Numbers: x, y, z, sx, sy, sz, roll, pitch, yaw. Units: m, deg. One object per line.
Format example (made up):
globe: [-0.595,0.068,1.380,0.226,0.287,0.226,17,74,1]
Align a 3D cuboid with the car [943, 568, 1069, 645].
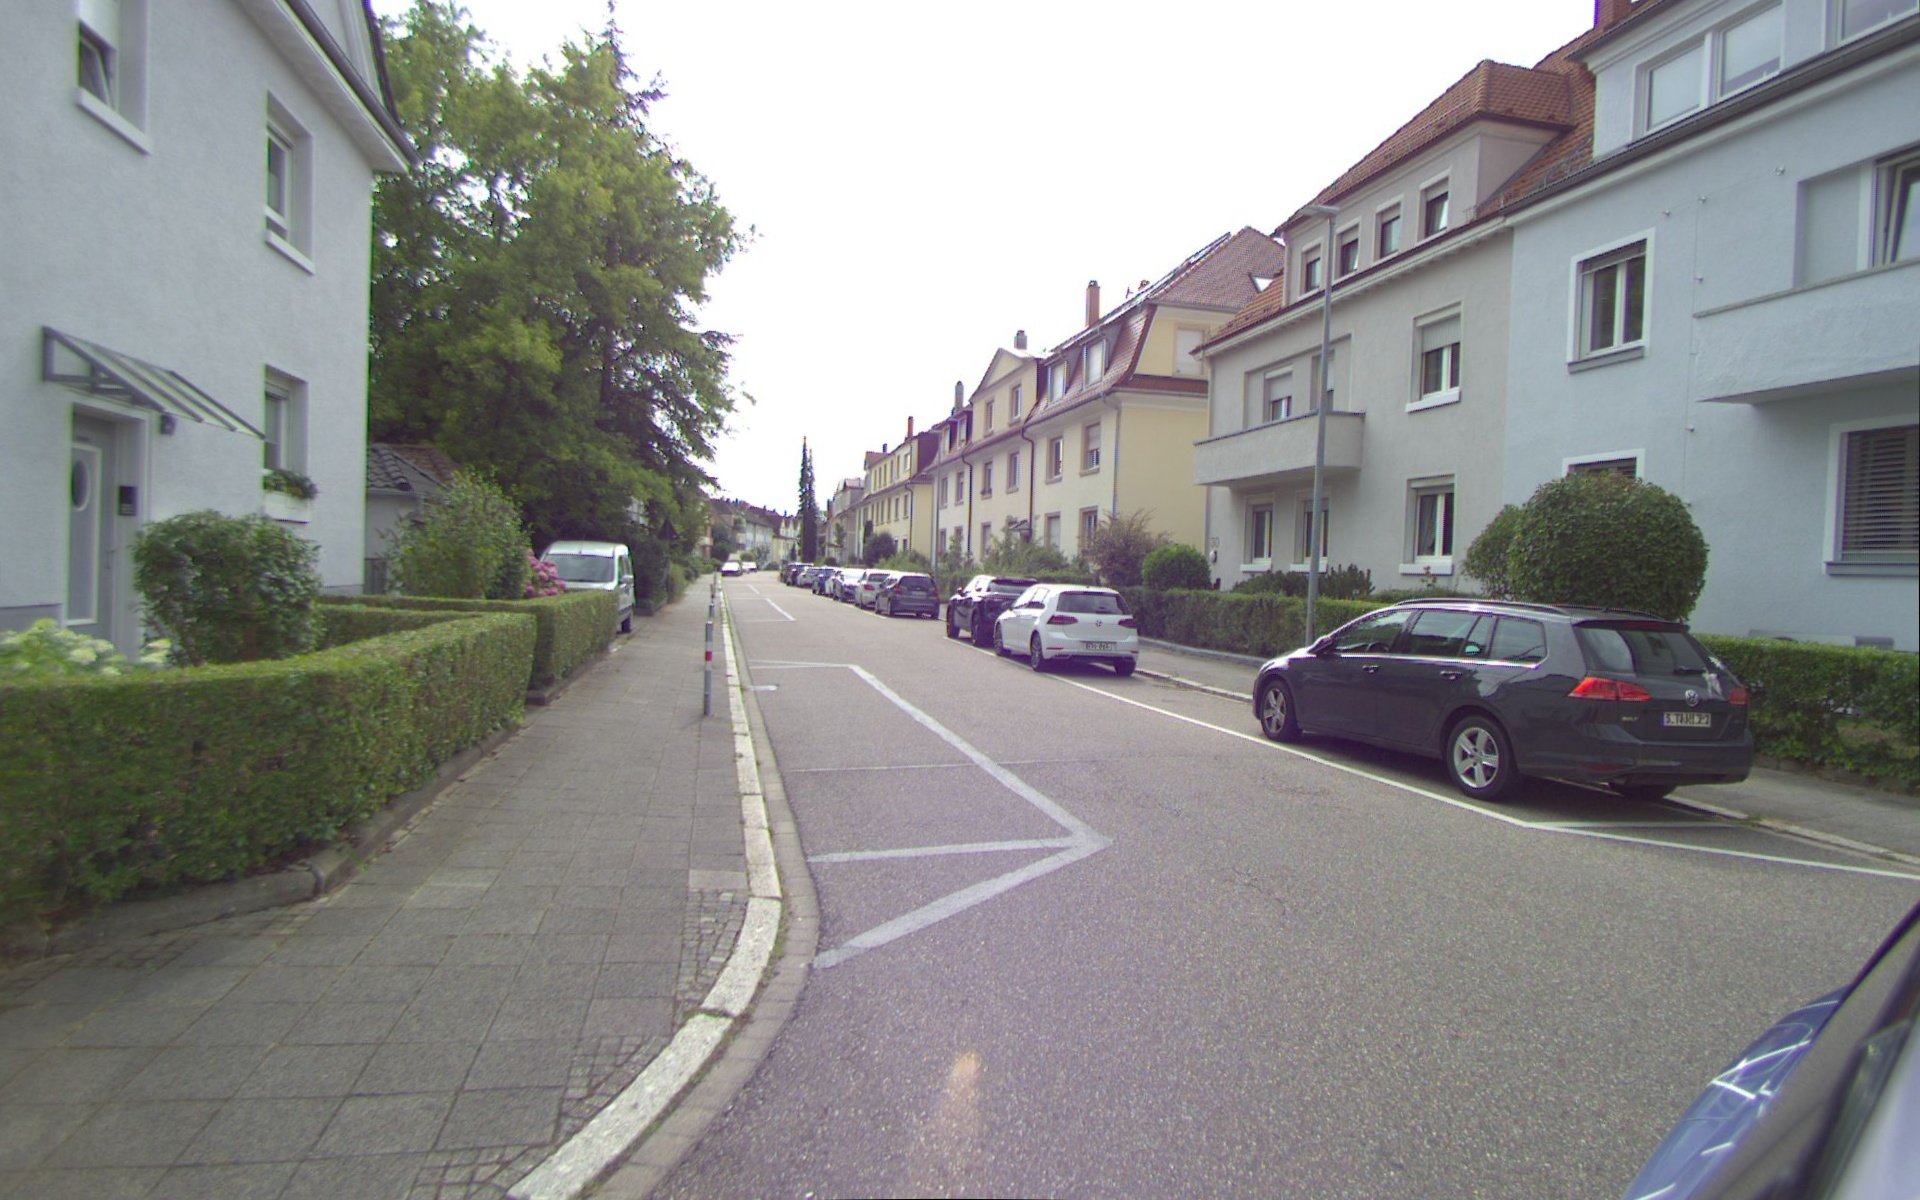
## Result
car: [0.934,0.076,22.955,1.821,1.489,4.185,1,2,-12]

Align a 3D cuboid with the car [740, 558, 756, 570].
car: [-29.269,-4.996,139.548,1.959,1.660,4.008,1,2,-10]

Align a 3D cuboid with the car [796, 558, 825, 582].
car: [-10.882,-2.210,73.531,1.821,1.597,4.185,1,2,-12]

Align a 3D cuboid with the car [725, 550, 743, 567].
car: [-27.437,-5.068,123.020,1.958,2.038,4.009,1,2,-11]

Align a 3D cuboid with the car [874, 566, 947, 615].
car: [-1.763,-0.381,34.571,1.821,1.489,4.185,1,2,-12]

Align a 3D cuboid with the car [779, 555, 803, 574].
car: [-15.391,-3.243,91.919,1.821,1.597,4.185,1,2,-13]

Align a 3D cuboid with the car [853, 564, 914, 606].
car: [-3.072,-0.643,39.721,1.821,1.489,4.185,1,2,-12]

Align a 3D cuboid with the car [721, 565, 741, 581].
car: [-24.978,-2.978,110.557,1.959,1.660,4.008,1,2,-10]

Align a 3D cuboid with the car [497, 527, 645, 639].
car: [-7.245,-0.368,19.248,1.958,1.860,4.009,1,2,-12]

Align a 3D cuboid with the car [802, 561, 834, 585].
car: [-9.591,-1.853,68.162,1.821,1.489,4.185,1,2,-12]

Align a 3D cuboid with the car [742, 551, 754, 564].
car: [-38.176,-7.651,182.577,1.959,2.149,4.008,1,2,-10]

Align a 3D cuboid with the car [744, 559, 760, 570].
car: [-31.510,-5.355,153.265,1.960,1.555,4.005,0,2,-5]

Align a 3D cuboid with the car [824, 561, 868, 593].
car: [-5.875,-1.189,51.758,1.821,1.489,4.185,1,2,-12]

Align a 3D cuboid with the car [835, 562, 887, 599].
car: [-4.496,-0.904,45.335,1.821,1.489,4.185,1,2,-12]

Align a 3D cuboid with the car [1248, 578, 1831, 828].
car: [4.451,0.628,8.665,1.820,1.489,4.186,1,2,-17]

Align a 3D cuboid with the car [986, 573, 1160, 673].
car: [1.871,0.324,18.191,1.821,1.489,4.185,1,2,-12]

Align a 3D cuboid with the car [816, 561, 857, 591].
car: [-6.860,-1.360,55.964,1.821,1.489,4.185,1,2,-12]
